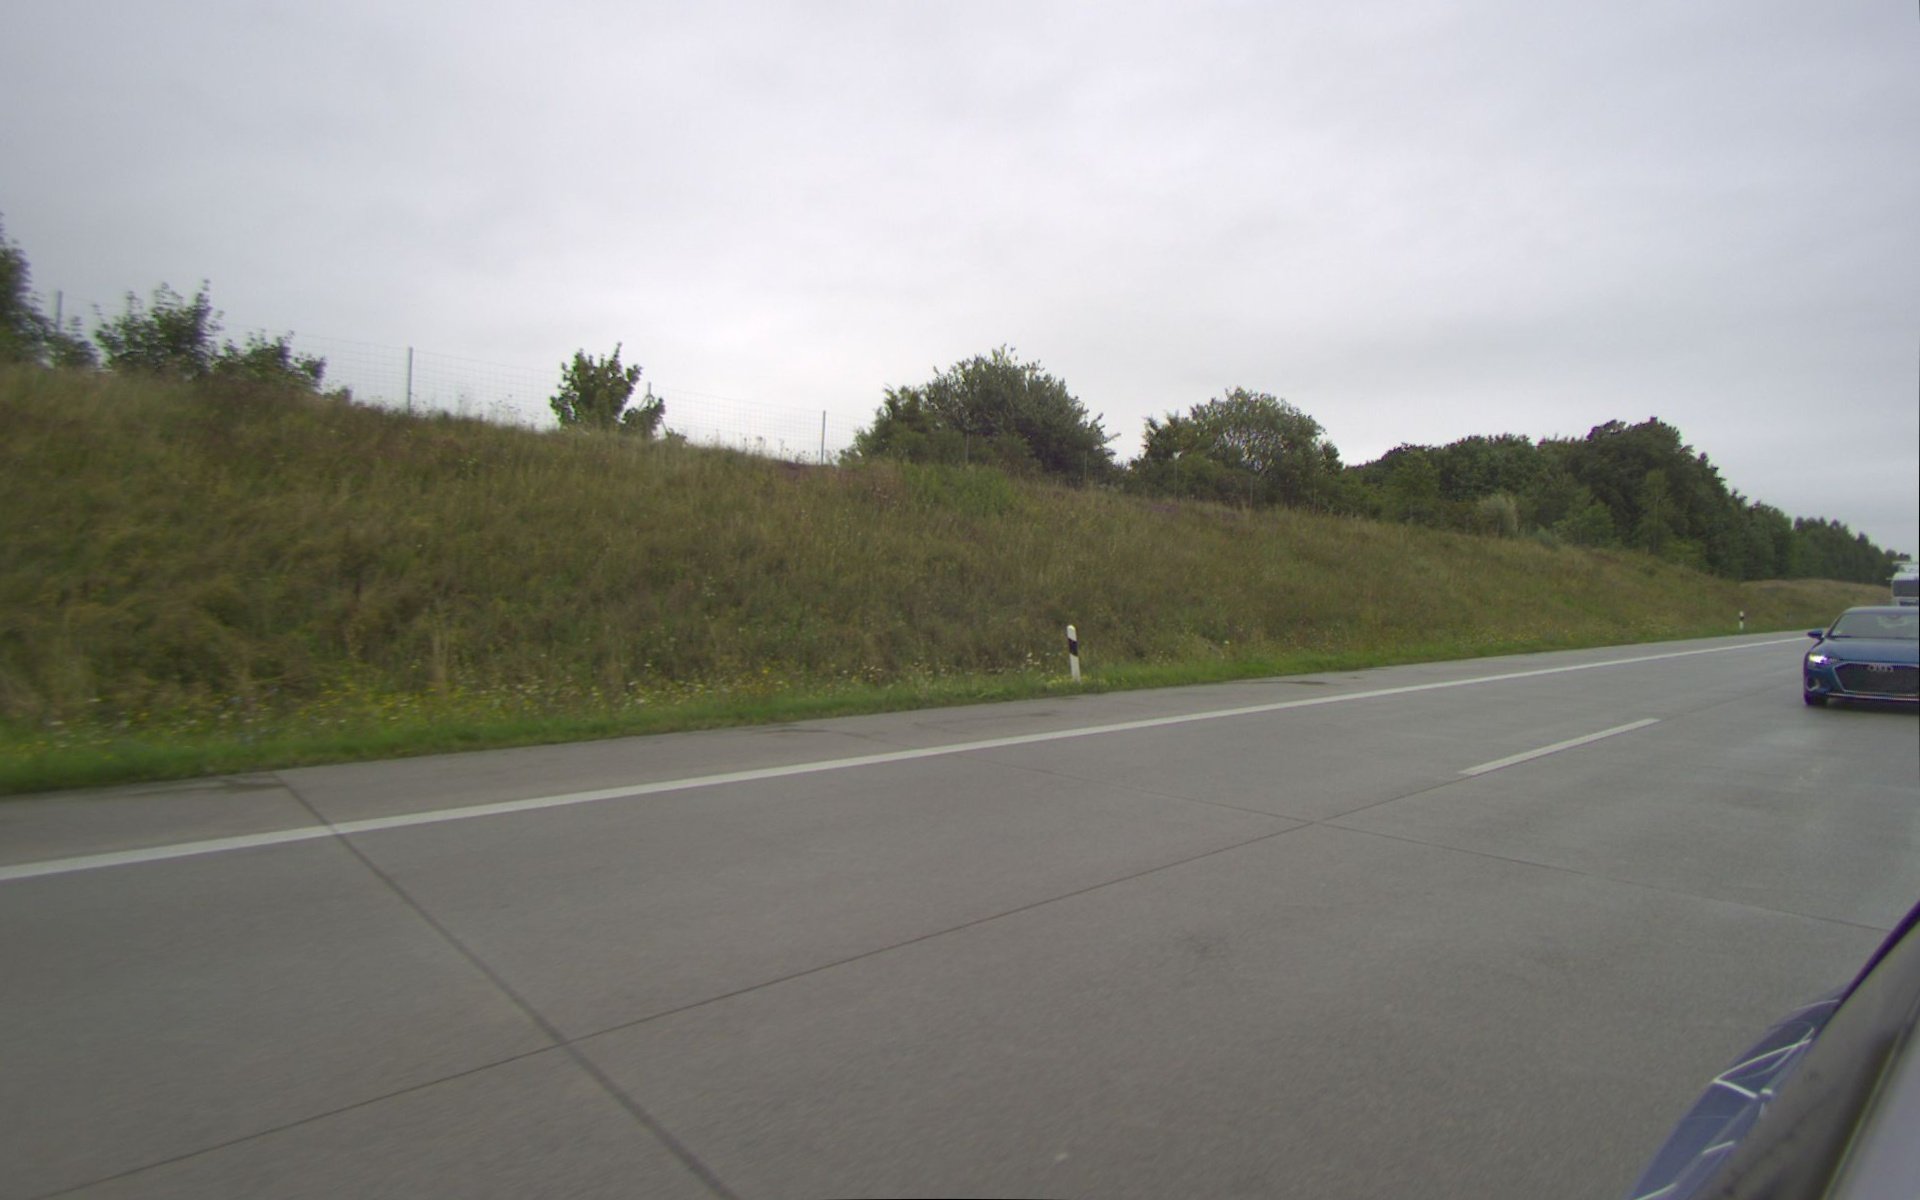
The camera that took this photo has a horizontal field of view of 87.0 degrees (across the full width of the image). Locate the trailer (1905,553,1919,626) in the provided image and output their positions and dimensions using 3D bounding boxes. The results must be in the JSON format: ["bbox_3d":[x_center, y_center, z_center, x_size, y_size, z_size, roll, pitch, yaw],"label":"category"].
[{"bbox_3d":[63.685,-0.521,65.129,14.938,4.436,2.710,1,-2,-41],"label":"trailer"}]

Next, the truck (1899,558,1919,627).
[{"bbox_3d":[58.026,-0.410,60.167,5.586,4.005,2.640,1,-2,-41],"label":"truck"}]

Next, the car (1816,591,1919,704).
[{"bbox_3d":[14.210,0.635,14.956,4.591,1.477,1.732,0,1,-42],"label":"car"}]
